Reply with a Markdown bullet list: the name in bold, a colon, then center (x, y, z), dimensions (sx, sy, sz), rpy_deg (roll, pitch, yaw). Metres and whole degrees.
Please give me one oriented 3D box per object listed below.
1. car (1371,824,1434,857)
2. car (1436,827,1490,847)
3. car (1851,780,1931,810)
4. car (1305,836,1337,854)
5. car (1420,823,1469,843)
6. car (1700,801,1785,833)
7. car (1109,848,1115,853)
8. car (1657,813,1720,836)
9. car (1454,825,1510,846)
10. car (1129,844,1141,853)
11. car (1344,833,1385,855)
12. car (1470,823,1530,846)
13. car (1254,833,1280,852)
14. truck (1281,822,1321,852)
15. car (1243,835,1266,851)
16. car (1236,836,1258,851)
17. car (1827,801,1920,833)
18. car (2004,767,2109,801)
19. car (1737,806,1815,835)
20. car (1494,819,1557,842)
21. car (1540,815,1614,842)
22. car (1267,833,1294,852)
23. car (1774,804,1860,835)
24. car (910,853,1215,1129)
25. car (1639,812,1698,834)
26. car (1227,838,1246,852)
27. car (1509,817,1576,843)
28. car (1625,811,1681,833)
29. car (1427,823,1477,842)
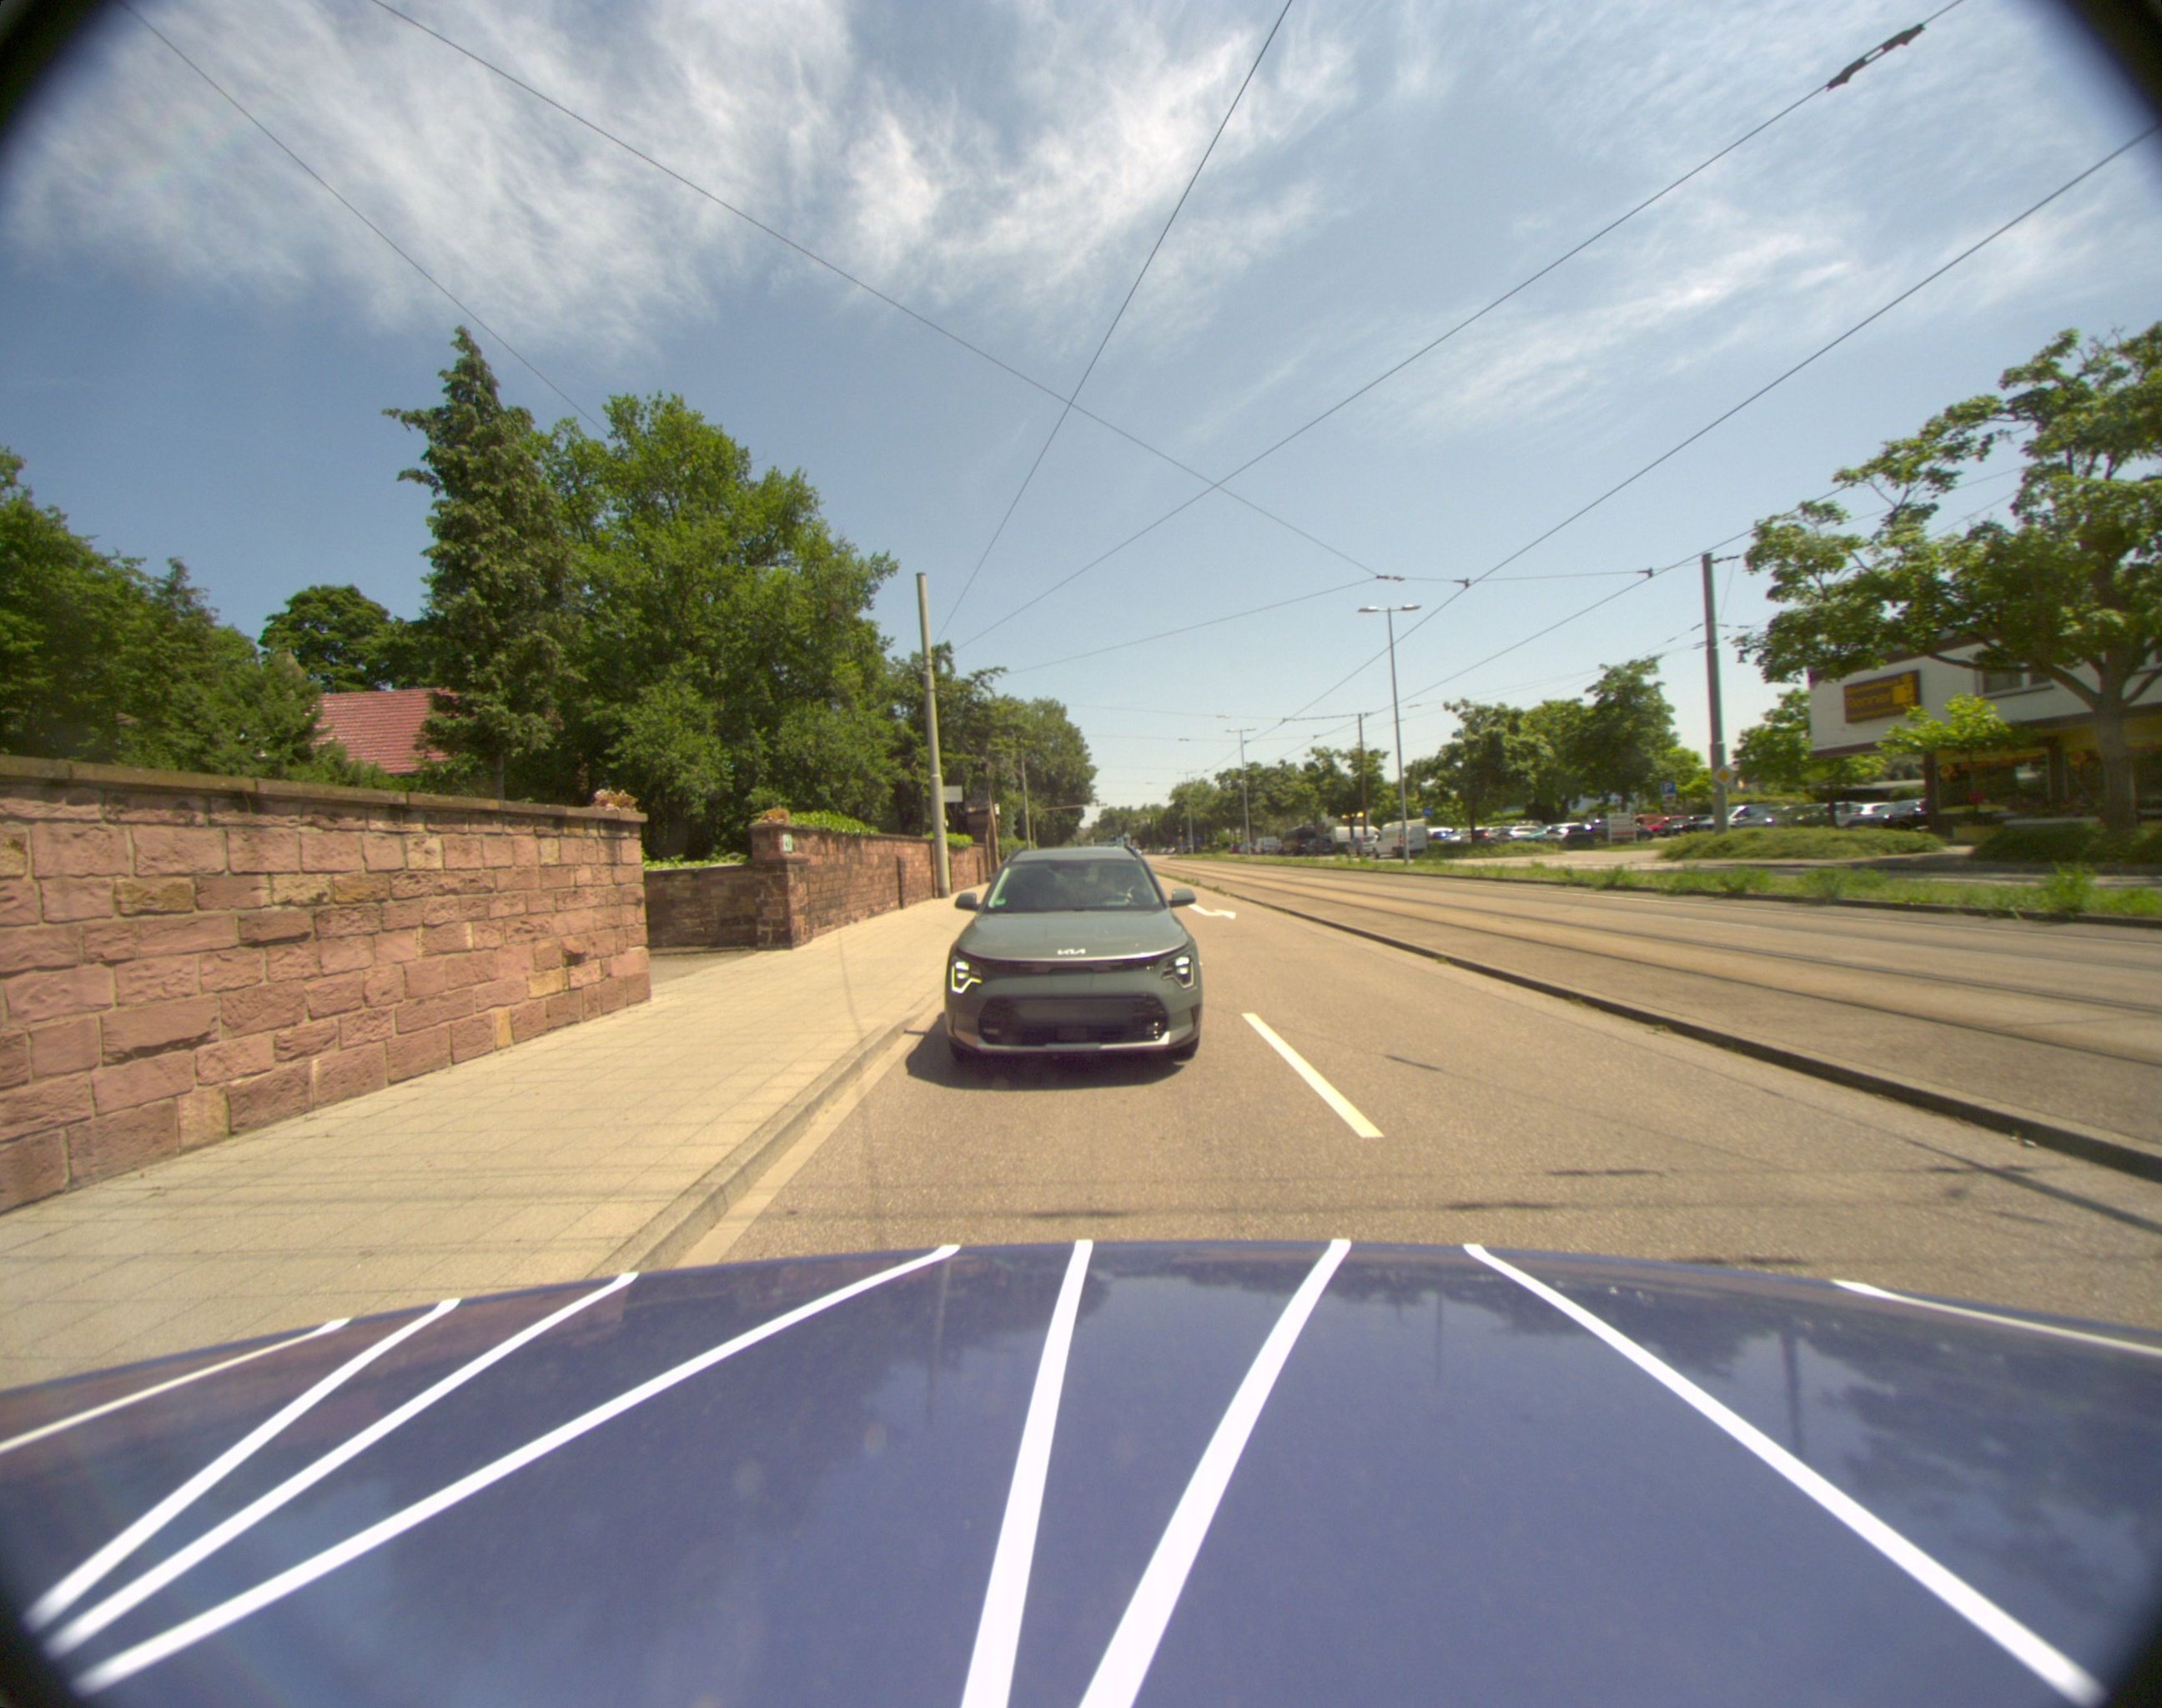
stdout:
- **car**: center (20.267, -0.833, 48.174), dimensions (1.998, 1.872, 4.661), rpy_deg (-3, 1, 1)
- **car**: center (30.415, -1.334, 60.508), dimensions (3.414, 1.386, 1.602), rpy_deg (-3, 1, -5)
- **car**: center (63.724, -4.629, 59.816), dimensions (3.996, 2.002, 2.000), rpy_deg (-3, 1, 2)
- **car**: center (20.364, -0.777, 64.551), dimensions (1.675, 1.378, 3.669), rpy_deg (-3, 0, 2)
- **car**: center (31.515, -1.837, 65.968), dimensions (3.414, 1.497, 1.602), rpy_deg (-3, 1, -5)
- **car**: center (43.353, -2.422, 49.840), dimensions (3.998, 1.774, 1.813), rpy_deg (-3, 1, -2)
- **car**: center (10.684, -1.223, 259.916), dimensions (1.737, 1.469, 4.000), rpy_deg (-3, 0, 1)
- **car**: center (43.868, -2.109, 54.930), dimensions (3.355, 1.381, 1.506), rpy_deg (-3, 1, -2)
- **car**: center (30.659, -1.429, 58.098), dimensions (3.414, 1.386, 1.602), rpy_deg (-3, 1, -5)
- **car**: center (10.317, -1.023, 146.227), dimensions (1.998, 1.652, 4.000), rpy_deg (-3, 1, 1)
- **car**: center (20.328, -0.719, 54.637), dimensions (1.675, 1.378, 3.569), rpy_deg (-3, 1, 2)
- **car**: center (30.235, -1.396, 54.876), dimensions (3.414, 1.386, 1.602), rpy_deg (-3, 1, -5)
- **car**: center (20.642, -1.228, 84.609), dimensions (1.681, 1.963, 4.509), rpy_deg (-3, 1, 0)
- **truck**: center (20.362, -1.524, 70.587), dimensions (2.225, 2.526, 4.928), rpy_deg (-3, 1, 1)
- **car**: center (20.702, -1.278, 90.740), dimensions (1.681, 1.783, 4.202), rpy_deg (-3, 1, 0)
- **car**: center (20.723, -1.269, 95.084), dimensions (1.681, 1.783, 4.202), rpy_deg (-3, 0, 0)
- **car**: center (43.939, -2.031, 42.153), dimensions (3.492, 1.528, 1.624), rpy_deg (-3, 1, -2)
- **car**: center (62.421, -4.443, 48.692), dimensions (3.996, 1.761, 2.000), rpy_deg (-3, 1, 2)
- **car**: center (43.369, -2.079, 47.469), dimensions (3.492, 1.528, 1.534), rpy_deg (-3, 1, -2)
- **car**: center (30.785, -1.618, 52.611), dimensions (3.414, 1.386, 1.602), rpy_deg (-3, 1, -5)
- **car**: center (30.994, -1.587, 47.514), dimensions (3.414, 1.482, 1.793), rpy_deg (-3, 1, -5)
- **car**: center (20.812, -1.169, 79.240), dimensions (1.681, 1.783, 3.868), rpy_deg (-3, 1, 0)
- **car**: center (43.304, -2.027, 44.730), dimensions (3.492, 1.528, 1.624), rpy_deg (-3, 1, -2)
- **car**: center (-0.079, 0.837, 6.699), dimensions (1.789, 1.561, 4.183), rpy_deg (-2, 1, 1)
- **car**: center (44.475, -2.362, 57.561), dimensions (3.355, 1.450, 1.506), rpy_deg (-3, 1, -2)
- **car**: center (20.825, -1.207, 101.696), dimensions (1.681, 1.693, 3.823), rpy_deg (-3, 1, 0)
- **car**: center (30.353, -1.583, 49.987), dimensions (3.414, 1.482, 1.598), rpy_deg (-3, 1, -5)
- **car**: center (45.210, -2.529, 60.090), dimensions (3.355, 1.552, 1.506), rpy_deg (-3, 1, -2)
- **car**: center (30.923, -1.778, 63.394), dimensions (3.414, 1.386, 1.602), rpy_deg (-3, 1, -5)
